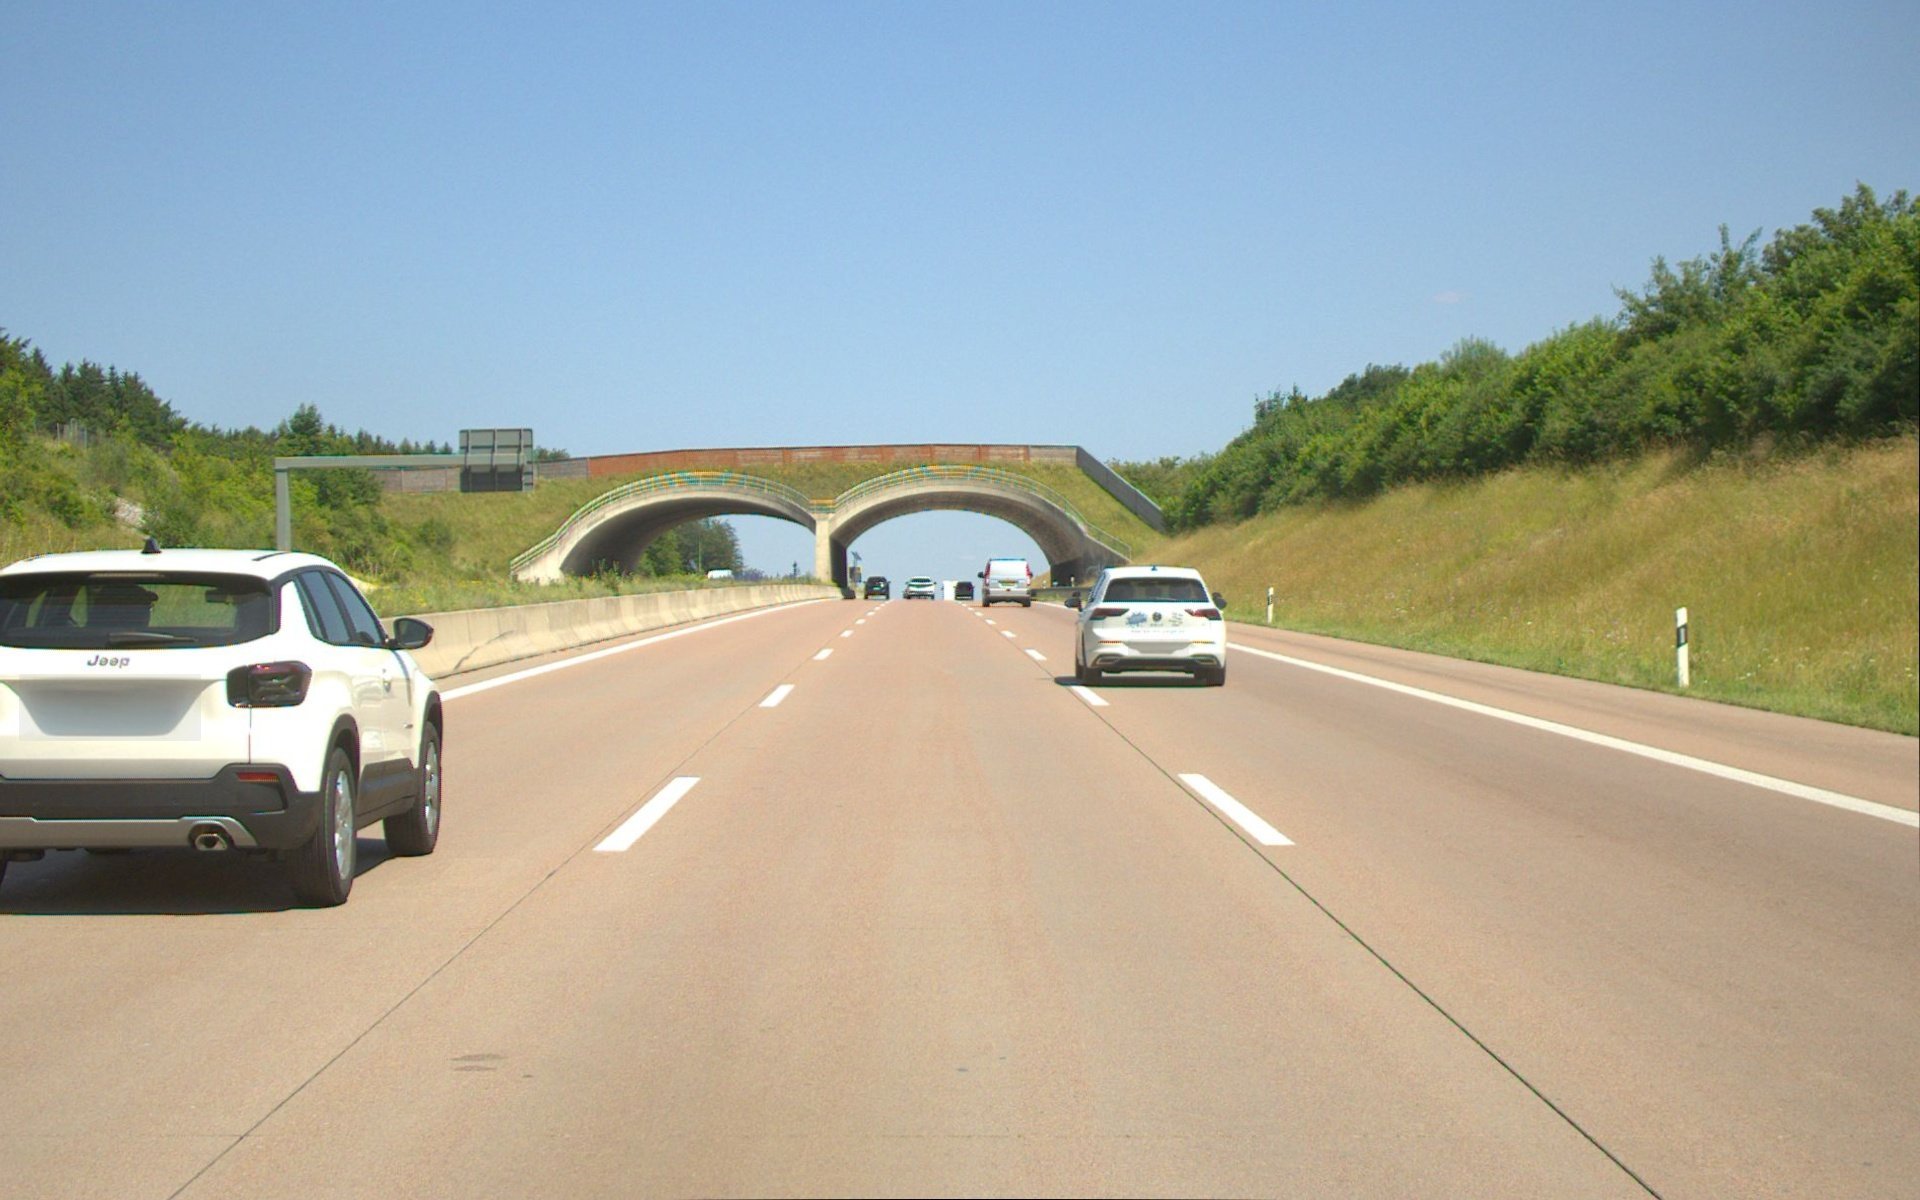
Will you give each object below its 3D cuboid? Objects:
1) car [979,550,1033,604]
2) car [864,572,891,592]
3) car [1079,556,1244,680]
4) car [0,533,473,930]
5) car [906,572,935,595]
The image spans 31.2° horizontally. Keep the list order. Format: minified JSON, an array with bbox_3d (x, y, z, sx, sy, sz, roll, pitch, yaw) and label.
[{"bbox_3d":[1.851,-0.917,136.761,2.110,2.047,4.000,0,2,1],"label":"car"},{"bbox_3d":[-6.308,-1.386,262.590,1.891,1.458,4.000,0,2,1],"label":"car"},{"bbox_3d":[2.453,0.189,42.793,1.891,1.393,4.000,1,1,1],"label":"car"},{"bbox_3d":[-3.563,0.491,16.308,1.879,1.602,4.834,0,1,-1],"label":"car"},{"bbox_3d":[-2.624,-1.099,227.585,1.891,1.458,4.000,1,1,0],"label":"car"}]
